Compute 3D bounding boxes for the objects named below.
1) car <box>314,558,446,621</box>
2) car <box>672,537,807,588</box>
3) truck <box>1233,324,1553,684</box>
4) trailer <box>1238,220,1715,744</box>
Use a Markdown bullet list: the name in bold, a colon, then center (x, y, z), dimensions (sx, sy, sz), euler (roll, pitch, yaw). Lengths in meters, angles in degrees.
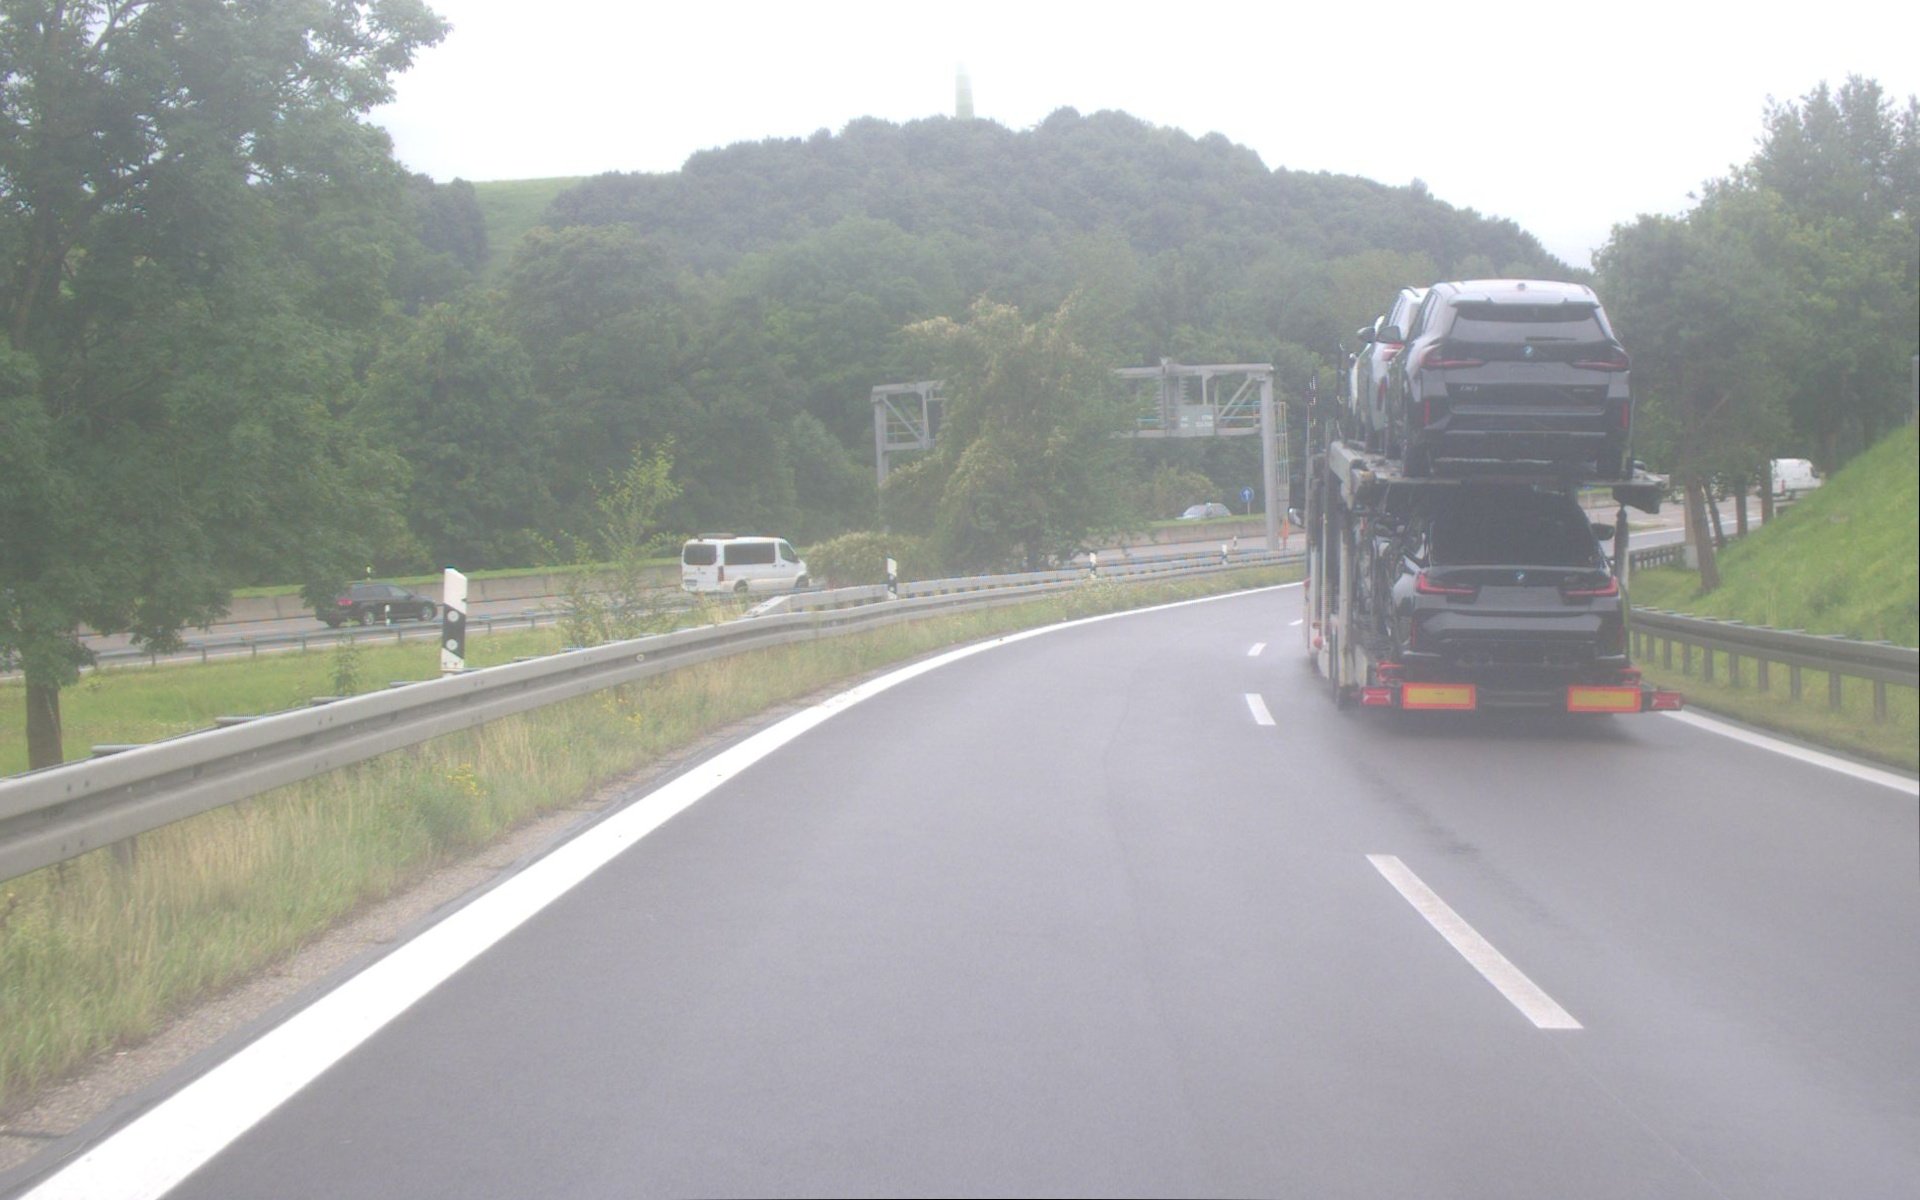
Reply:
- **car**: center (-19.709, -0.361, 116.908), dimensions (1.997, 1.711, 3.992), euler (-5, 1, 37)
- **car**: center (-8.180, -1.411, 127.871), dimensions (1.998, 1.711, 5.313), euler (0, 2, 37)
- **truck**: center (5.300, -1.160, 44.154), dimensions (3.395, 3.986, 10.845), euler (1, 1, 4)
- **trailer**: center (4.482, -1.005, 32.676), dimensions (3.449, 3.986, 12.025), euler (1, 1, 4)
